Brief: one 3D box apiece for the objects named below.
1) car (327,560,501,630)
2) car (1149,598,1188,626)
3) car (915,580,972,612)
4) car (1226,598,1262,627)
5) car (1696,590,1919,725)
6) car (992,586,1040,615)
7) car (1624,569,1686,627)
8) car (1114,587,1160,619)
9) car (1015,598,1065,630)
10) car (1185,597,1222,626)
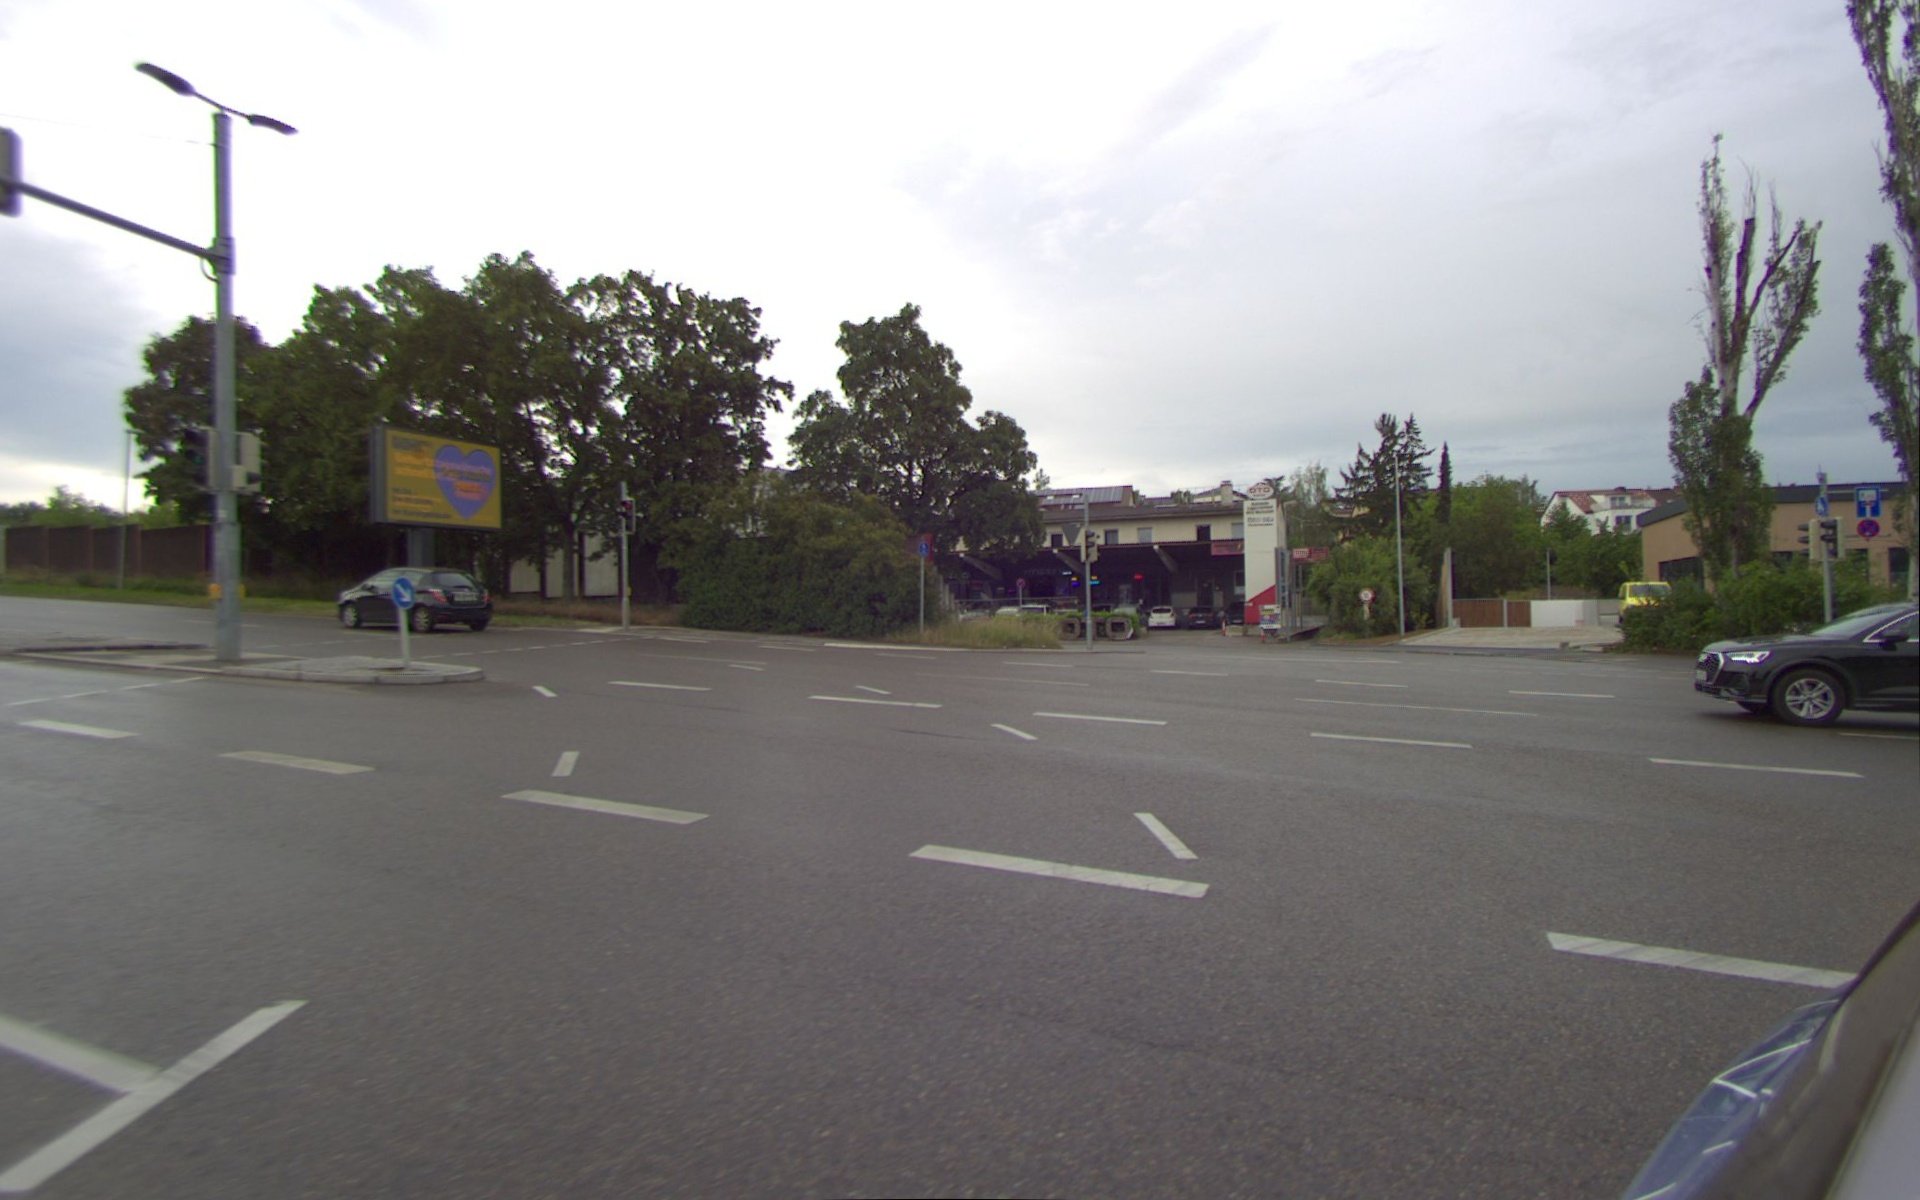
[{"bbox_3d":[-12.995,-0.142,24.091,3.785,1.519,1.712,2,0,25],"label":"car"},{"bbox_3d":[13.298,0.711,64.406,1.726,1.672,3.971,2,1,21],"label":"car"},{"bbox_3d":[-0.853,-0.230,55.239,1.726,1.672,3.971,2,1,21],"label":"car"},{"bbox_3d":[17.473,0.735,62.257,1.726,1.672,3.971,2,1,21],"label":"car"},{"bbox_3d":[12.376,0.710,12.081,5.475,1.519,1.825,2,0,24],"label":"car"},{"bbox_3d":[3.411,0.038,61.163,1.726,1.672,3.971,2,1,21],"label":"car"},{"bbox_3d":[30.277,-0.098,44.213,1.732,2.344,5.166,2,1,30],"label":"car"},{"bbox_3d":[9.744,0.137,55.582,1.726,1.672,3.971,2,1,21],"label":"car"},{"bbox_3d":[4.527,0.737,56.658,1.726,1.672,3.971,2,1,21],"label":"car"},{"bbox_3d":[15.279,0.684,63.332,1.726,1.672,3.971,2,1,21],"label":"car"}]
